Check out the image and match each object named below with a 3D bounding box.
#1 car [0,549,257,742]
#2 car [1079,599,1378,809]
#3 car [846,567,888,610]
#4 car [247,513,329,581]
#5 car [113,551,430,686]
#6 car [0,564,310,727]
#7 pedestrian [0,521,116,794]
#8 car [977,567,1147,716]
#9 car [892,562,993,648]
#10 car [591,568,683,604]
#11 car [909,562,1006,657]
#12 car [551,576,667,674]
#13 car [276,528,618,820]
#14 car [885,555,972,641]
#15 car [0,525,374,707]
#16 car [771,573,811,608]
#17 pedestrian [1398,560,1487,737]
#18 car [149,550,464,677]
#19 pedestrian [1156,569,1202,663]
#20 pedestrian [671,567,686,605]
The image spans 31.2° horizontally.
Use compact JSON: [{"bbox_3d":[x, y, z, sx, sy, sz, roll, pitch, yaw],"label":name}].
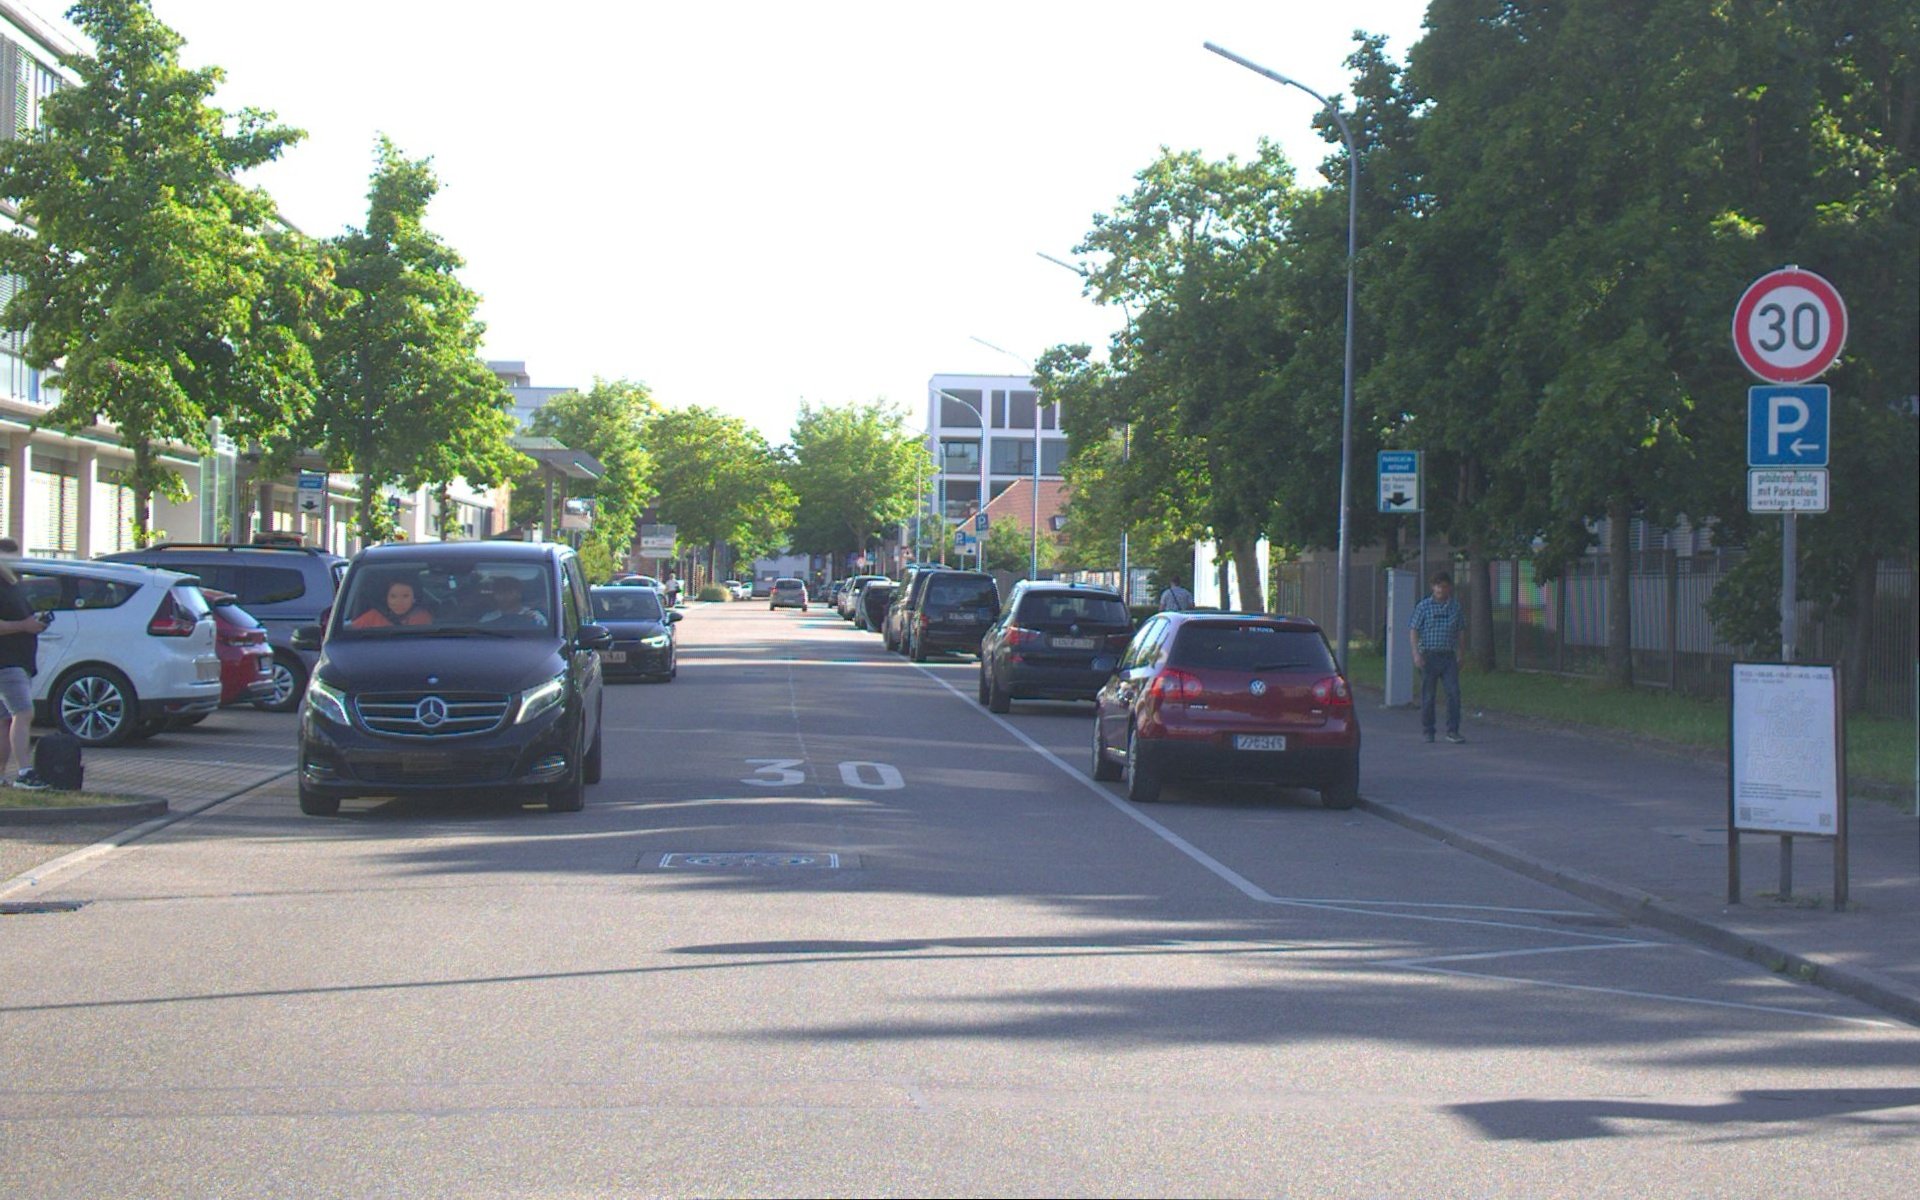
[{"bbox_3d":[-8.899,0.364,31.192,4.612,1.645,1.867,2,0,1],"label":"car"},{"bbox_3d":[2.074,0.774,27.805,1.719,1.450,4.652,2,0,-4],"label":"car"},{"bbox_3d":[-3.528,-0.439,130.034,1.436,1.555,3.042,1,0,-3],"label":"car"},{"bbox_3d":[-21.583,-1.689,110.522,1.993,2.007,4.000,1,-1,-3],"label":"car"},{"bbox_3d":[-9.258,0.240,46.474,3.986,1.601,1.872,3,0,-6],"label":"car"},{"bbox_3d":[-8.784,0.410,33.840,4.433,1.496,1.827,2,0,-2],"label":"car"},{"bbox_3d":[-6.441,0.381,23.896,0.857,1.836,0.825,3,0,-1],"label":"pedestrian"},{"bbox_3d":[1.247,0.483,43.824,1.812,1.660,4.593,3,1,-2],"label":"car"},{"bbox_3d":[-0.405,0.084,74.986,1.993,1.816,4.199,0,1,-3],"label":"car"},{"bbox_3d":[-14.618,-0.616,155.731,3.986,1.514,2.000,1,-1,-2],"label":"car"},{"bbox_3d":[-0.075,0.169,68.753,1.733,1.824,3.905,1,0,-3],"label":"car"},{"bbox_3d":[-5.382,0.359,52.758,1.703,1.446,4.087,0,0,-6],"label":"car"},{"bbox_3d":[-3.591,0.458,24.973,1.955,1.861,5.255,-1,1,-3],"label":"car"},{"bbox_3d":[-0.775,-0.063,81.223,1.874,1.971,4.001,0,1,-3],"label":"car"},{"bbox_3d":[-9.271,0.152,39.472,4.742,1.858,1.828,3,0,-2],"label":"car"},{"bbox_3d":[-7.761,-0.453,157.722,1.743,1.538,4.000,2,0,-3],"label":"car"},{"bbox_3d":[4.845,0.475,34.557,0.717,1.752,0.885,-1,1,-2],"label":"pedestrian"},{"bbox_3d":[-9.337,0.182,49.428,4.245,1.606,2.048,3,0,-6],"label":"car"},{"bbox_3d":[3.908,0.283,61.315,0.698,1.655,0.752,-1,0,-3],"label":"pedestrian"},{"bbox_3d":[-11.930,-0.604,145.781,0.618,1.619,0.716,0,0,-3],"label":"pedestrian"}]
